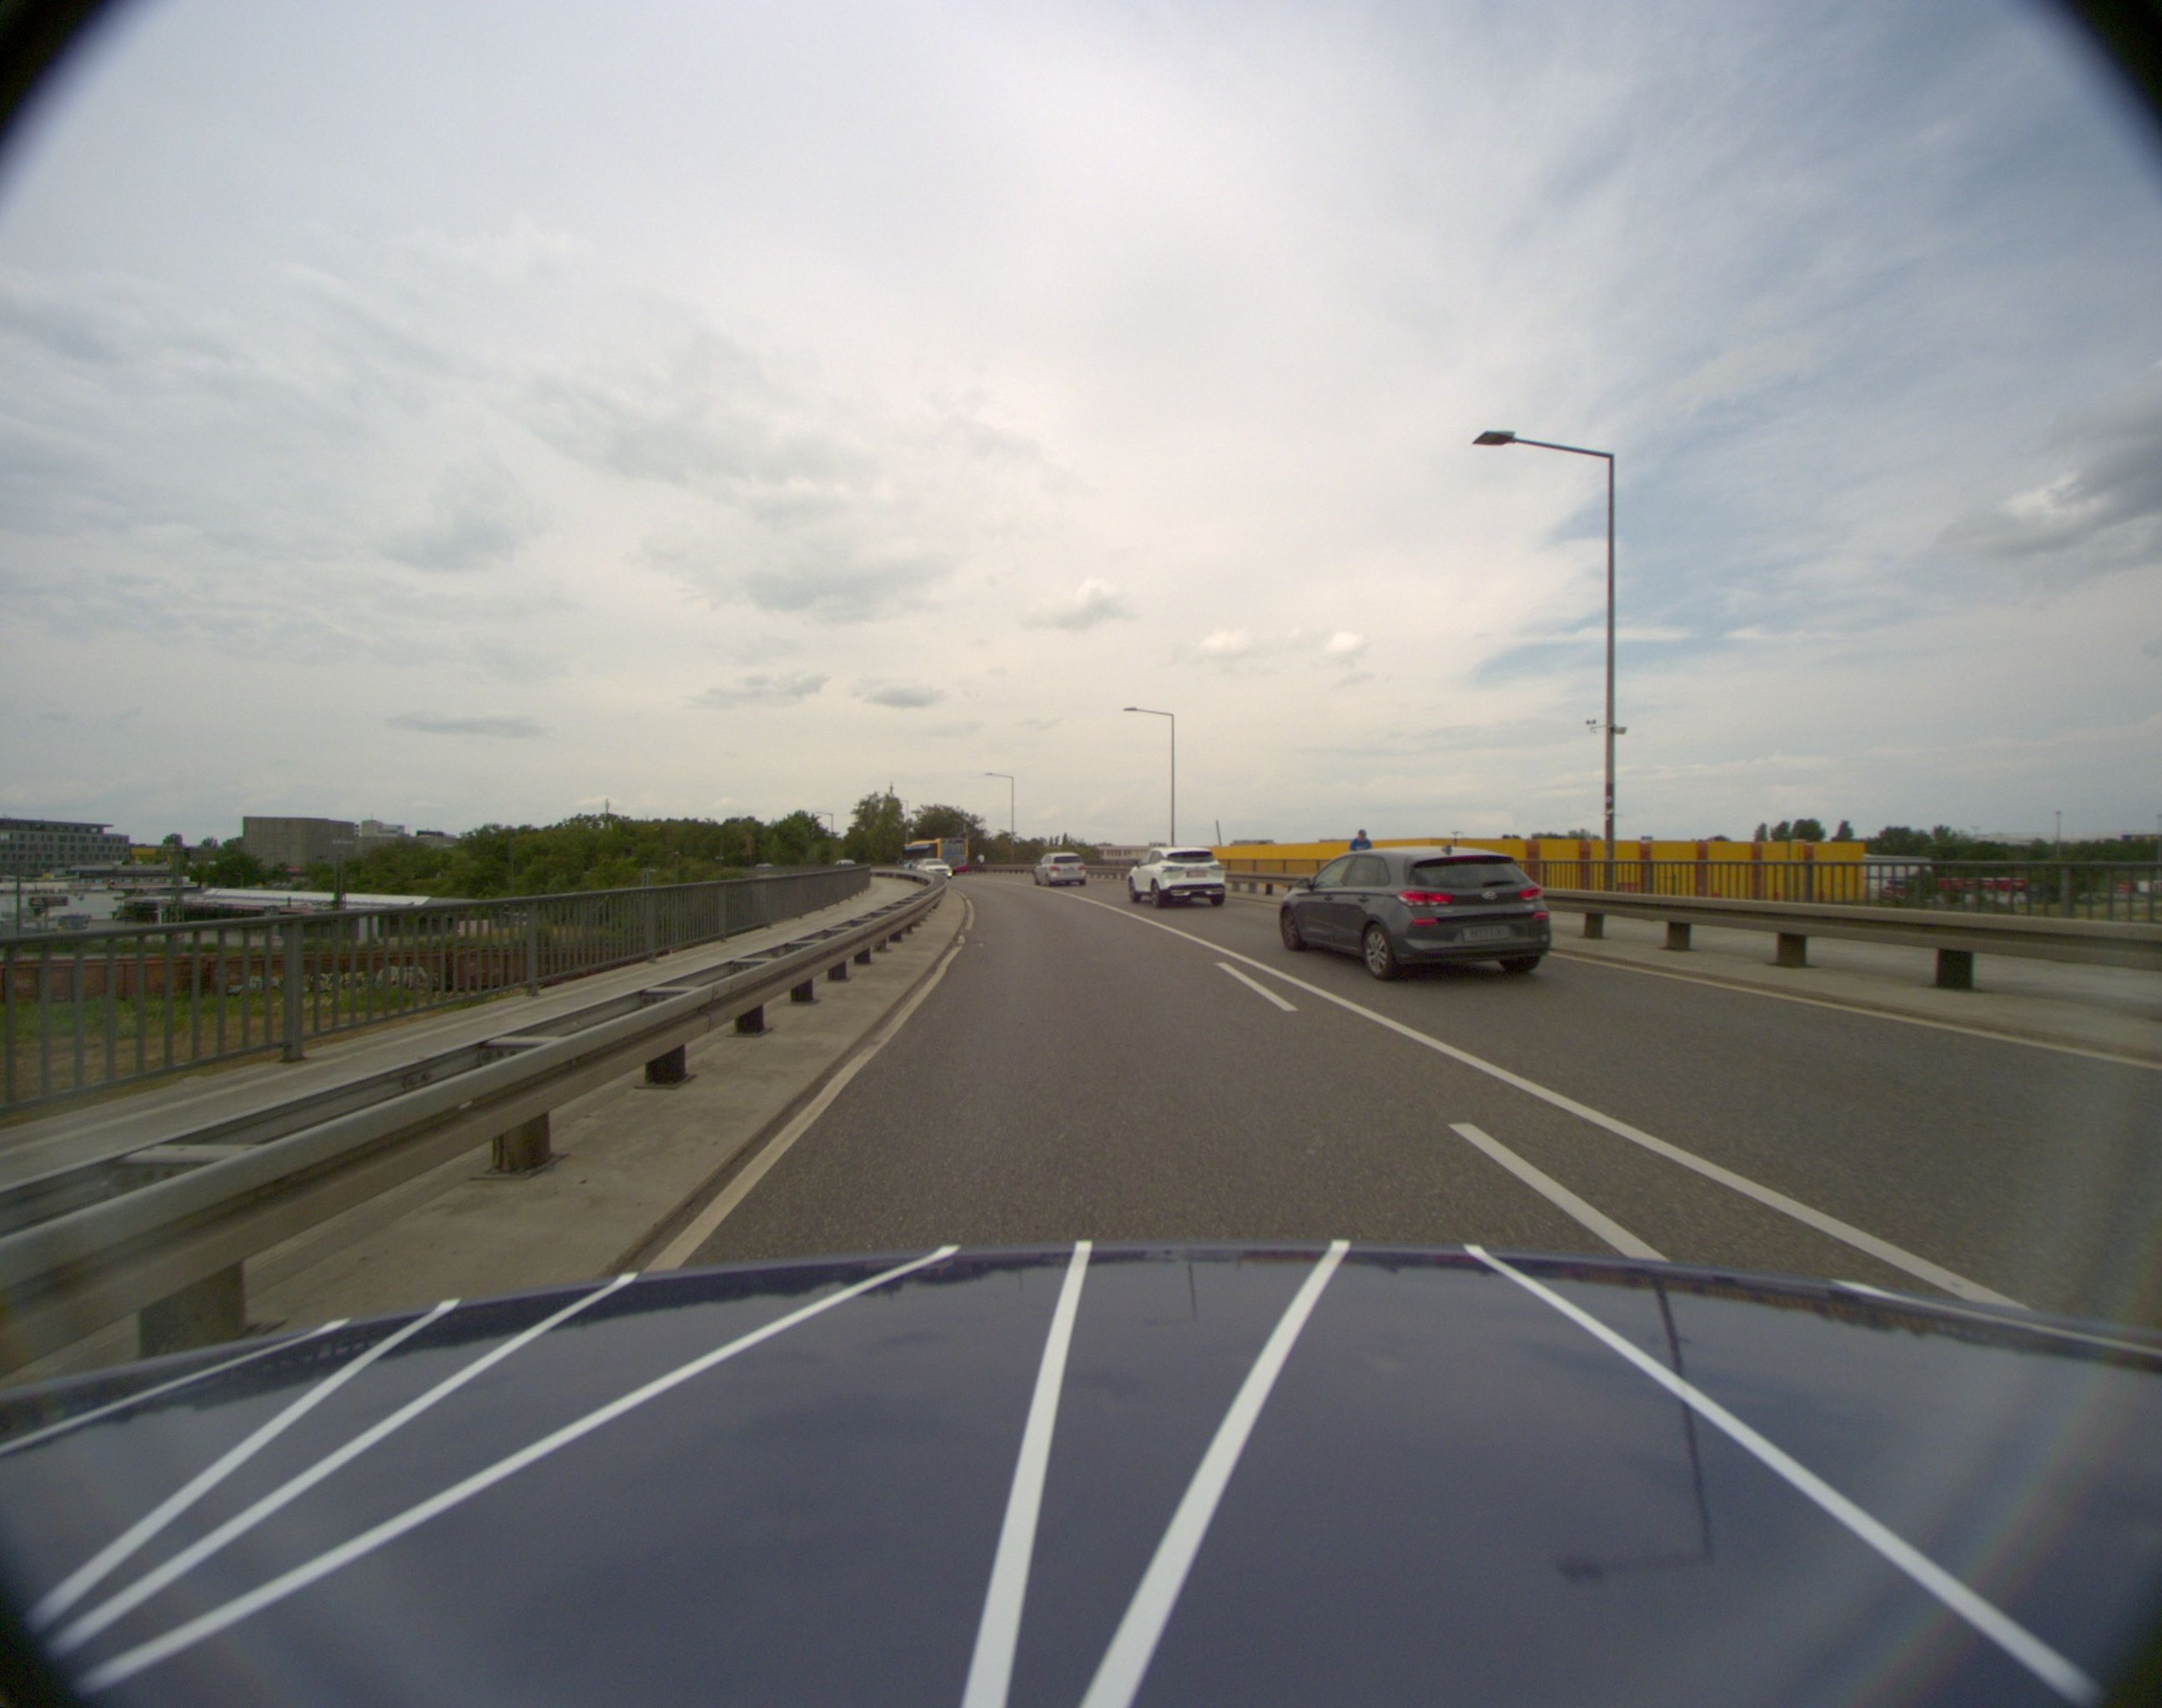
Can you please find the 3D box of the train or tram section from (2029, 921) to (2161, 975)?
[{"bbox_3d":[91.414,8.369,67.354,12.757,4.072,2.081,3,1,-3],"label":"train or tram section"}]

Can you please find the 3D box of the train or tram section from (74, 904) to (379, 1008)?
[{"bbox_3d":[-57.375,6.695,51.648,13.914,5.645,3.839,-2,1,-13],"label":"train or tram section"}]

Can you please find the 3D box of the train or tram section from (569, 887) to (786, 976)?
[{"bbox_3d":[-29.816,5.661,56.996,13.653,5.542,3.649,-2,1,-10],"label":"train or tram section"}]

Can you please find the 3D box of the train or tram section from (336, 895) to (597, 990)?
[{"bbox_3d":[-43.556,6.174,54.530,14.261,5.567,3.654,-2,1,-11],"label":"train or tram section"}]

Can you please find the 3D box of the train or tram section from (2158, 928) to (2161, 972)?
[{"bbox_3d":[104.138,8.983,68.141,12.757,4.072,2.081,3,1,-3],"label":"train or tram section"}]

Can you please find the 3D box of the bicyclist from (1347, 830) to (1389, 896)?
[{"bbox_3d":[6.885,0.212,18.267,0.612,1.531,0.756,-2,1,-9],"label":"bicyclist"}]

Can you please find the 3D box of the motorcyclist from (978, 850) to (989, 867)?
[{"bbox_3d":[-9.002,0.402,70.069,0.813,1.521,0.822,-3,1,-25],"label":"motorcyclist"}]

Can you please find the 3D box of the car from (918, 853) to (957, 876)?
[{"bbox_3d":[-10.265,0.729,54.195,1.940,1.448,3.879,-3,1,-21],"label":"car"}]

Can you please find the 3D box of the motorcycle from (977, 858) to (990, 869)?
[{"bbox_3d":[-9.021,0.842,70.148,0.628,0.957,1.836,-3,1,-23],"label":"motorcycle"}]

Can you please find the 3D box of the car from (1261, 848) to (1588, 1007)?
[{"bbox_3d":[3.918,0.697,9.650,1.814,1.468,4.380,-2,1,-6],"label":"car"}]

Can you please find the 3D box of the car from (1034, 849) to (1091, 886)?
[{"bbox_3d":[-0.958,0.586,36.430,1.824,1.611,4.392,-2,1,-13],"label":"car"}]

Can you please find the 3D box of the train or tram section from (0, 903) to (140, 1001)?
[{"bbox_3d":[-71.398,6.441,48.288,15.021,5.644,3.972,-2,1,-14],"label":"train or tram section"}]

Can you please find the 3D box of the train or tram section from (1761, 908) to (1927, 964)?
[{"bbox_3d":[65.969,7.108,65.729,12.757,4.072,1.999,3,1,-3],"label":"train or tram section"}]

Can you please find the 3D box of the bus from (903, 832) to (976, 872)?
[{"bbox_3d":[-12.925,-0.144,68.202,3.045,3.215,12.923,-3,1,-26],"label":"bus"}]

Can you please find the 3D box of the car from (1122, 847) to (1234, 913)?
[{"bbox_3d":[2.586,0.627,21.558,1.947,1.584,4.770,-2,1,-8],"label":"car"}]

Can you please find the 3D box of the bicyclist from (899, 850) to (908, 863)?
[{"bbox_3d":[-20.862,0.328,89.468,0.714,1.436,0.746,-3,1,-44],"label":"bicyclist"}]

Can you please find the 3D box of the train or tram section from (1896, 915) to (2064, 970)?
[{"bbox_3d":[78.697,7.735,66.553,12.757,4.072,2.099,3,1,-3],"label":"train or tram section"}]

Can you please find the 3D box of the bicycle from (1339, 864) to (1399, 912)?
[{"bbox_3d":[6.871,0.789,18.210,0.494,1.039,1.808,-2,1,-8],"label":"bicycle"}]

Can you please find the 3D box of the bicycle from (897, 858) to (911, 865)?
[{"bbox_3d":[-20.786,0.852,89.410,0.695,0.793,1.888,-3,0,-44],"label":"bicycle"}]
